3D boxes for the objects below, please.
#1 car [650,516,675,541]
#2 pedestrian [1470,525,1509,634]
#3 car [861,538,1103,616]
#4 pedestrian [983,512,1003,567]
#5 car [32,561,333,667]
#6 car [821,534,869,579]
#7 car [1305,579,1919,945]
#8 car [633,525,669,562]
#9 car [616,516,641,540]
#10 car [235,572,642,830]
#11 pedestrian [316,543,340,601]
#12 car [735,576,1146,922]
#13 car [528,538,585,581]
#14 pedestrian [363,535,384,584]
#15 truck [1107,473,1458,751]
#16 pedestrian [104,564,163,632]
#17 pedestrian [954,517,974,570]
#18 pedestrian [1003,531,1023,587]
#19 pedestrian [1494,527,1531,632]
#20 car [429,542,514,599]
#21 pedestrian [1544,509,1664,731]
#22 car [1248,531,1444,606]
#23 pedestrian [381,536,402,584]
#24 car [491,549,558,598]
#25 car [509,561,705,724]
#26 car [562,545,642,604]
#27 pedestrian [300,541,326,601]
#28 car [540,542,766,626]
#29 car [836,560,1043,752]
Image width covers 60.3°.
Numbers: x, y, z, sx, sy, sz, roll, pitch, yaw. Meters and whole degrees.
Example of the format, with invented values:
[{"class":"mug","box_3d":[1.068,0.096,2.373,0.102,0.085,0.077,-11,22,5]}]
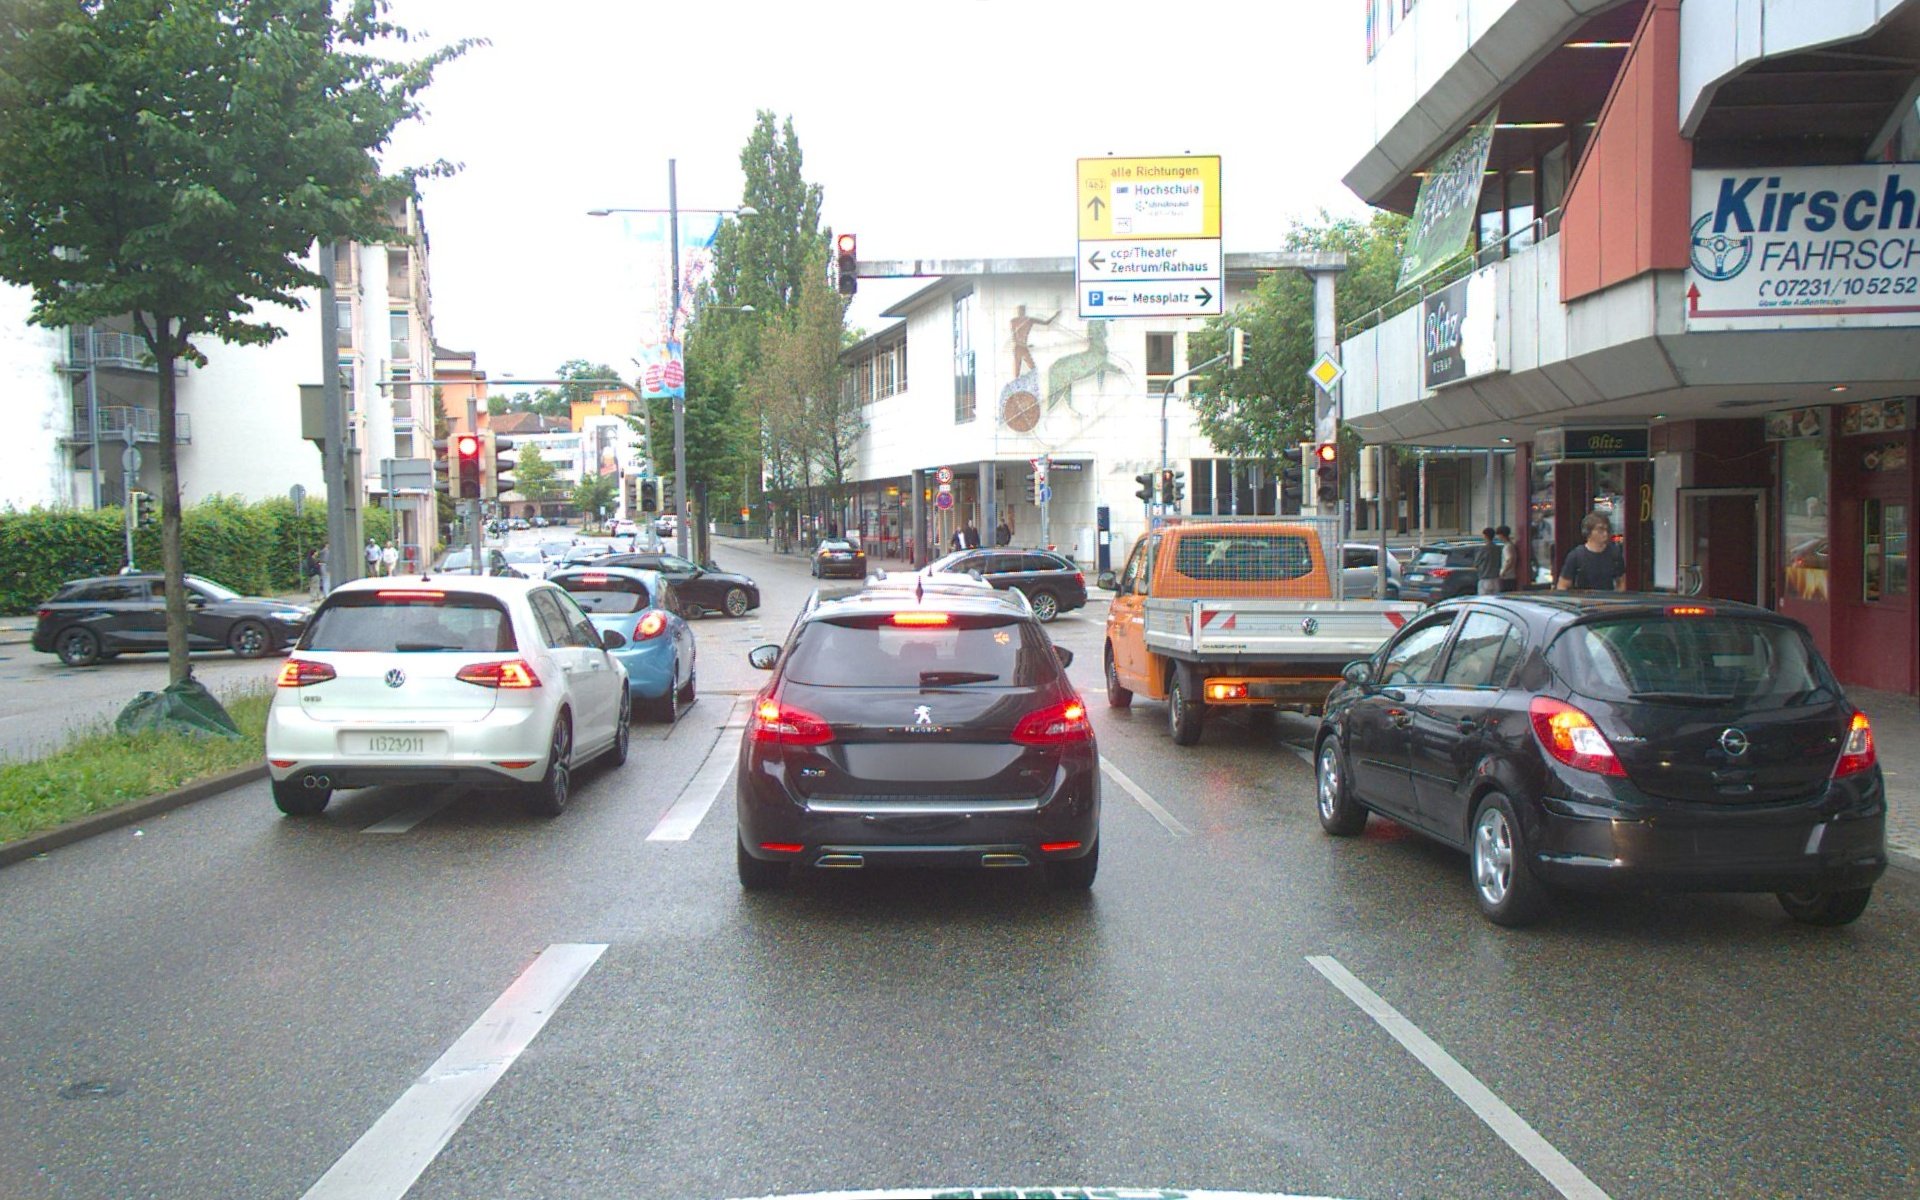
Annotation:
[{"class":"car","box_3d":[-26.446,-6.330,146.765,1.679,1.970,3.980,1,-1,-18]},{"class":"pedestrian","box_3d":[8.436,-0.319,26.379,0.417,1.712,0.450,-1,-1,-2]},{"class":"car","box_3d":[0.441,-0.468,33.561,4.652,1.512,1.629,0,2,-20]},{"class":"pedestrian","box_3d":[1.178,-2.142,58.557,0.623,1.930,0.734,1,-1,6]},{"class":"car","box_3d":[-12.739,0.194,27.350,4.152,1.592,1.700,-1,1,-12]},{"class":"car","box_3d":[-4.417,-1.618,62.949,1.691,1.516,4.727,1,-1,-5]},{"class":"car","box_3d":[3.116,0.641,8.671,1.584,1.454,3.839,1,1,-4]},{"class":"car","box_3d":[-15.402,-2.792,82.380,1.713,1.669,3.989,1,-1,-11]},{"class":"car","box_3d":[-29.202,-6.335,145.664,1.679,1.915,3.980,1,-1,-18]},{"class":"car","box_3d":[-3.347,0.553,11.381,1.742,1.454,3.840,1,1,-3]},{"class":"pedestrian","box_3d":[-19.544,-0.851,51.156,0.528,1.778,0.564,1,-1,-6]},{"class":"car","box_3d":[-0.165,0.614,8.982,1.742,1.454,3.840,1,1,-3]},{"class":"car","box_3d":[-14.855,-1.491,61.006,1.602,1.512,3.605,1,2,-7]},{"class":"pedestrian","box_3d":[-21.485,-1.473,60.602,0.584,1.758,0.655,1,-1,-9]},{"class":"truck","box_3d":[2.827,0.032,15.842,2.133,2.210,5.018,1,2,-3]},{"class":"pedestrian","box_3d":[-19.682,-0.047,39.381,1.041,1.606,0.683,1,-1,-5]},{"class":"pedestrian","box_3d":[0.149,-1.966,57.619,0.623,1.788,0.734,1,-1,6]},{"class":"pedestrian","box_3d":[1.886,-1.447,58.490,0.623,1.930,0.734,1,-1,6]},{"class":"pedestrian","box_3d":[8.939,-0.325,26.776,0.388,1.668,0.504,-1,-1,0]},{"class":"car","box_3d":[-13.752,-0.856,46.745,1.543,1.512,3.607,1,2,-4]},{"class":"pedestrian","box_3d":[5.630,0.175,14.501,0.726,1.847,0.774,-4,-1,11]},{"class":"car","box_3d":[8.356,-0.661,35.882,3.828,1.512,1.618,1,-1,-13]},{"class":"pedestrian","box_3d":[-20.879,-1.464,60.739,0.584,1.758,0.655,1,-1,-9]},{"class":"car","box_3d":[-14.107,-0.877,53.755,1.602,1.512,3.605,1,2,-7]},{"class":"car","box_3d":[-3.601,0.362,17.402,1.601,1.512,3.606,1,2,-6]},{"class":"car","box_3d":[-10.513,-0.706,48.737,1.710,1.607,3.996,1,-1,-4]},{"class":"pedestrian","box_3d":[-19.430,-0.869,49.666,0.529,1.778,0.746,1,-1,-9]},{"class":"car","box_3d":[-6.559,-0.389,35.646,4.464,1.479,1.768,-5,4,-39]},{"class":"car","box_3d":[-0.197,0.410,15.270,1.662,1.512,3.793,1,2,-1]}]
